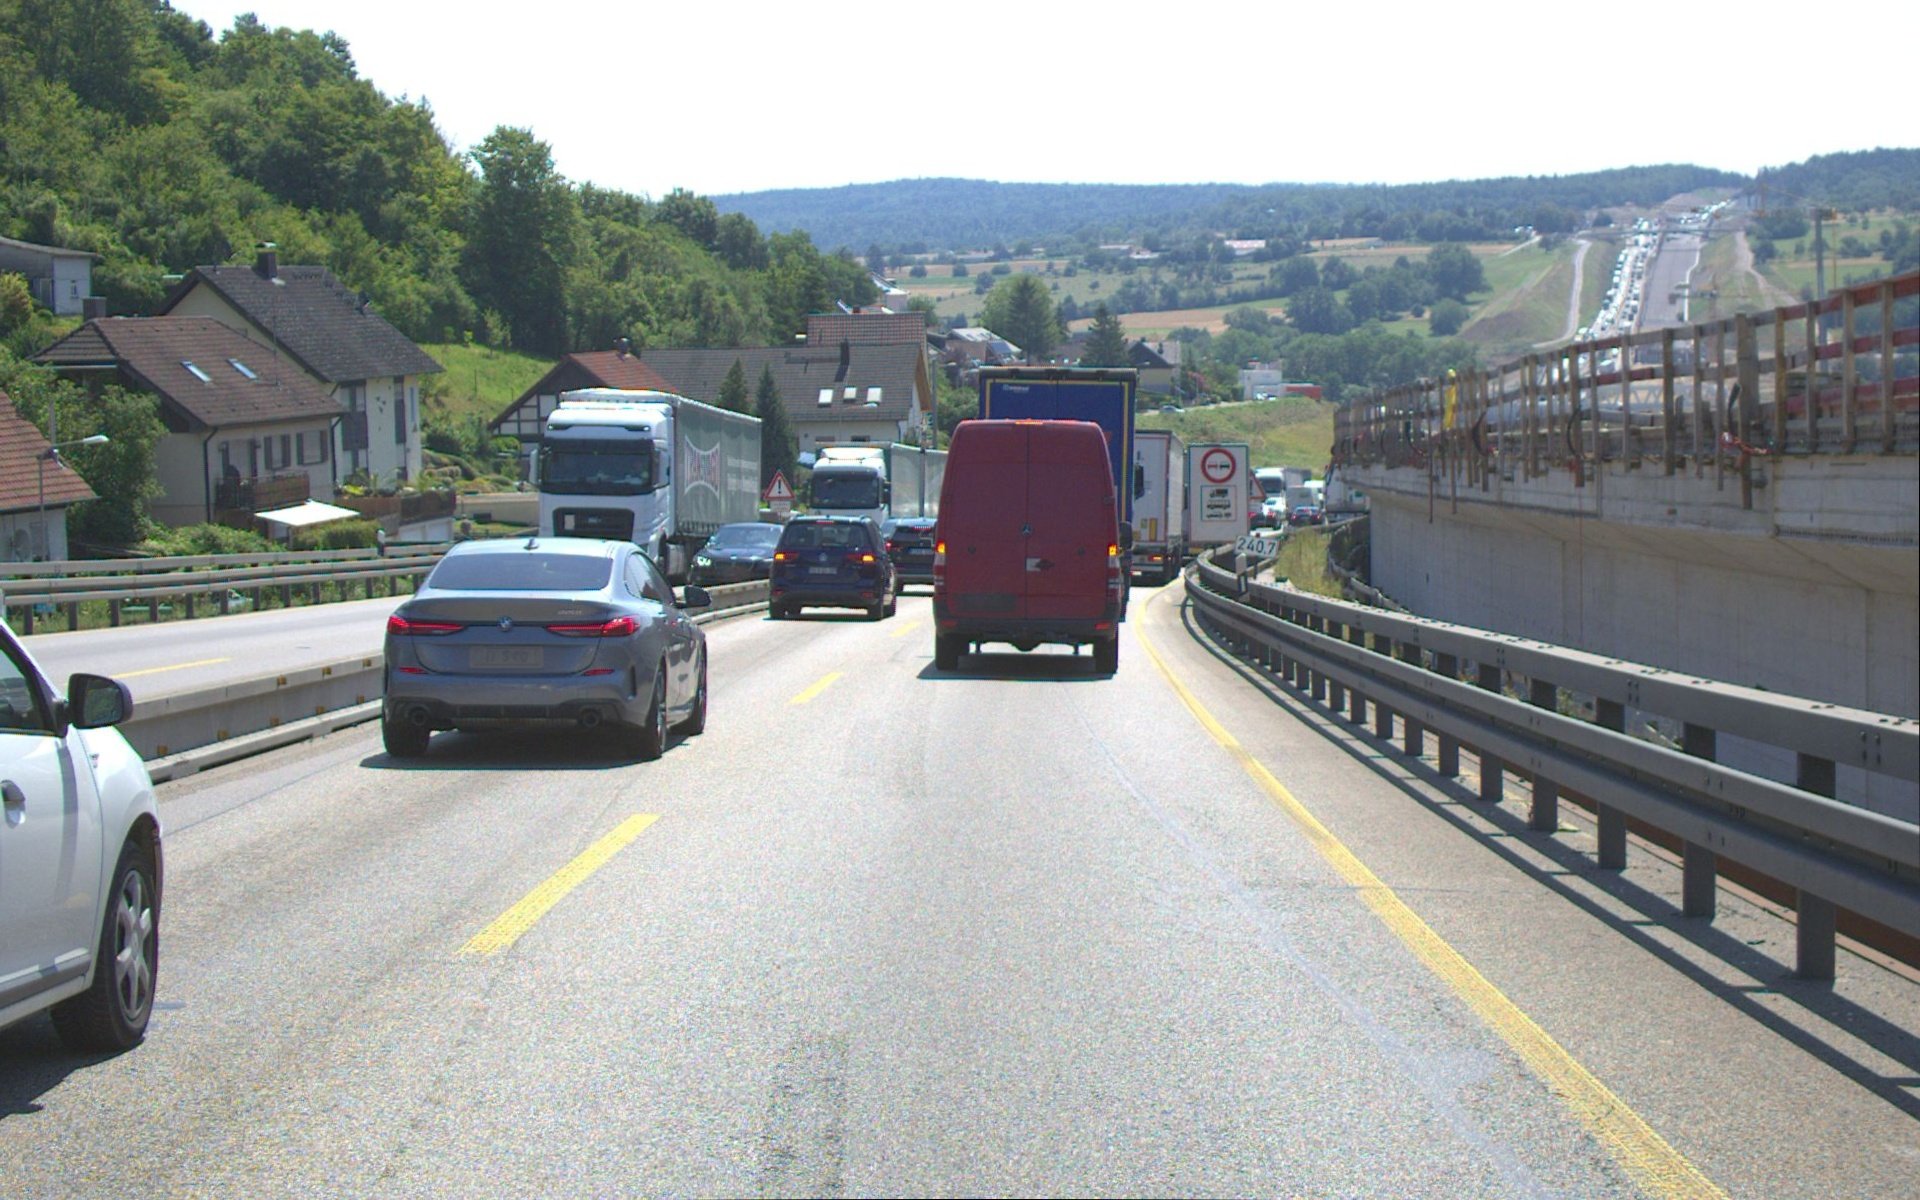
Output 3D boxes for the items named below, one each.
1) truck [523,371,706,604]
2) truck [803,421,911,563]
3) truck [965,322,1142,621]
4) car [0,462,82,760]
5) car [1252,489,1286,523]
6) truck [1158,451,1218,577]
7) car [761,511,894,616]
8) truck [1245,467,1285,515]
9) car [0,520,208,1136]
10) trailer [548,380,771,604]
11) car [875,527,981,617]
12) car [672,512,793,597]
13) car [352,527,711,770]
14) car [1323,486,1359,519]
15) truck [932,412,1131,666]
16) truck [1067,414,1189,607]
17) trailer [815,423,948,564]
[{"bbox_3d":[-7.381,-2.365,73.981,3.061,4.805,4.644,1,0,5],"label":"truck"},{"bbox_3d":[-3.417,-3.580,115.511,2.847,4.564,5.786,1,0,6],"label":"truck"},{"bbox_3d":[1.571,-2.113,60.581,2.786,4.799,9.685,1,0,1],"label":"truck"},{"bbox_3d":[-6.416,0.060,18.946,1.912,1.699,4.736,1,1,0],"label":"car"},{"bbox_3d":[19.056,-5.786,211.967,1.804,2.007,3.999,2,1,9],"label":"car"},{"bbox_3d":[8.152,-3.038,122.718,1.994,4.366,3.999,1,0,5],"label":"truck"},{"bbox_3d":[-2.088,-0.575,54.975,1.810,1.602,3.719,1,0,2],"label":"car"},{"bbox_3d":[10.475,-3.738,118.317,1.314,1.537,3.151,1,0,5],"label":"truck"},{"bbox_3d":[-3.141,0.563,8.213,1.651,1.478,4.266,-1,1,1],"label":"car"},{"bbox_3d":[-6.893,-2.379,81.480,3.065,4.799,14.000,1,0,4],"label":"trailer"},{"bbox_3d":[-0.650,-0.610,72.920,1.730,1.832,3.999,1,1,7],"label":"car"},{"bbox_3d":[-4.617,-0.920,70.400,1.993,1.634,4.853,1,0,2],"label":"car"},{"bbox_3d":[-2.787,0.261,23.182,1.795,1.480,4.049,1,1,2],"label":"car"},{"bbox_3d":[24.761,-6.351,223.378,2.132,2.007,3.999,1,0,9],"label":"car"},{"bbox_3d":[0.804,-0.637,37.248,1.993,2.570,4.000,1,0,2],"label":"truck"},{"bbox_3d":[4.381,-2.278,91.348,2.786,4.799,9.685,1,0,1],"label":"truck"},{"bbox_3d":[-2.666,-3.646,122.361,2.834,4.625,14.578,1,0,6],"label":"trailer"}]
